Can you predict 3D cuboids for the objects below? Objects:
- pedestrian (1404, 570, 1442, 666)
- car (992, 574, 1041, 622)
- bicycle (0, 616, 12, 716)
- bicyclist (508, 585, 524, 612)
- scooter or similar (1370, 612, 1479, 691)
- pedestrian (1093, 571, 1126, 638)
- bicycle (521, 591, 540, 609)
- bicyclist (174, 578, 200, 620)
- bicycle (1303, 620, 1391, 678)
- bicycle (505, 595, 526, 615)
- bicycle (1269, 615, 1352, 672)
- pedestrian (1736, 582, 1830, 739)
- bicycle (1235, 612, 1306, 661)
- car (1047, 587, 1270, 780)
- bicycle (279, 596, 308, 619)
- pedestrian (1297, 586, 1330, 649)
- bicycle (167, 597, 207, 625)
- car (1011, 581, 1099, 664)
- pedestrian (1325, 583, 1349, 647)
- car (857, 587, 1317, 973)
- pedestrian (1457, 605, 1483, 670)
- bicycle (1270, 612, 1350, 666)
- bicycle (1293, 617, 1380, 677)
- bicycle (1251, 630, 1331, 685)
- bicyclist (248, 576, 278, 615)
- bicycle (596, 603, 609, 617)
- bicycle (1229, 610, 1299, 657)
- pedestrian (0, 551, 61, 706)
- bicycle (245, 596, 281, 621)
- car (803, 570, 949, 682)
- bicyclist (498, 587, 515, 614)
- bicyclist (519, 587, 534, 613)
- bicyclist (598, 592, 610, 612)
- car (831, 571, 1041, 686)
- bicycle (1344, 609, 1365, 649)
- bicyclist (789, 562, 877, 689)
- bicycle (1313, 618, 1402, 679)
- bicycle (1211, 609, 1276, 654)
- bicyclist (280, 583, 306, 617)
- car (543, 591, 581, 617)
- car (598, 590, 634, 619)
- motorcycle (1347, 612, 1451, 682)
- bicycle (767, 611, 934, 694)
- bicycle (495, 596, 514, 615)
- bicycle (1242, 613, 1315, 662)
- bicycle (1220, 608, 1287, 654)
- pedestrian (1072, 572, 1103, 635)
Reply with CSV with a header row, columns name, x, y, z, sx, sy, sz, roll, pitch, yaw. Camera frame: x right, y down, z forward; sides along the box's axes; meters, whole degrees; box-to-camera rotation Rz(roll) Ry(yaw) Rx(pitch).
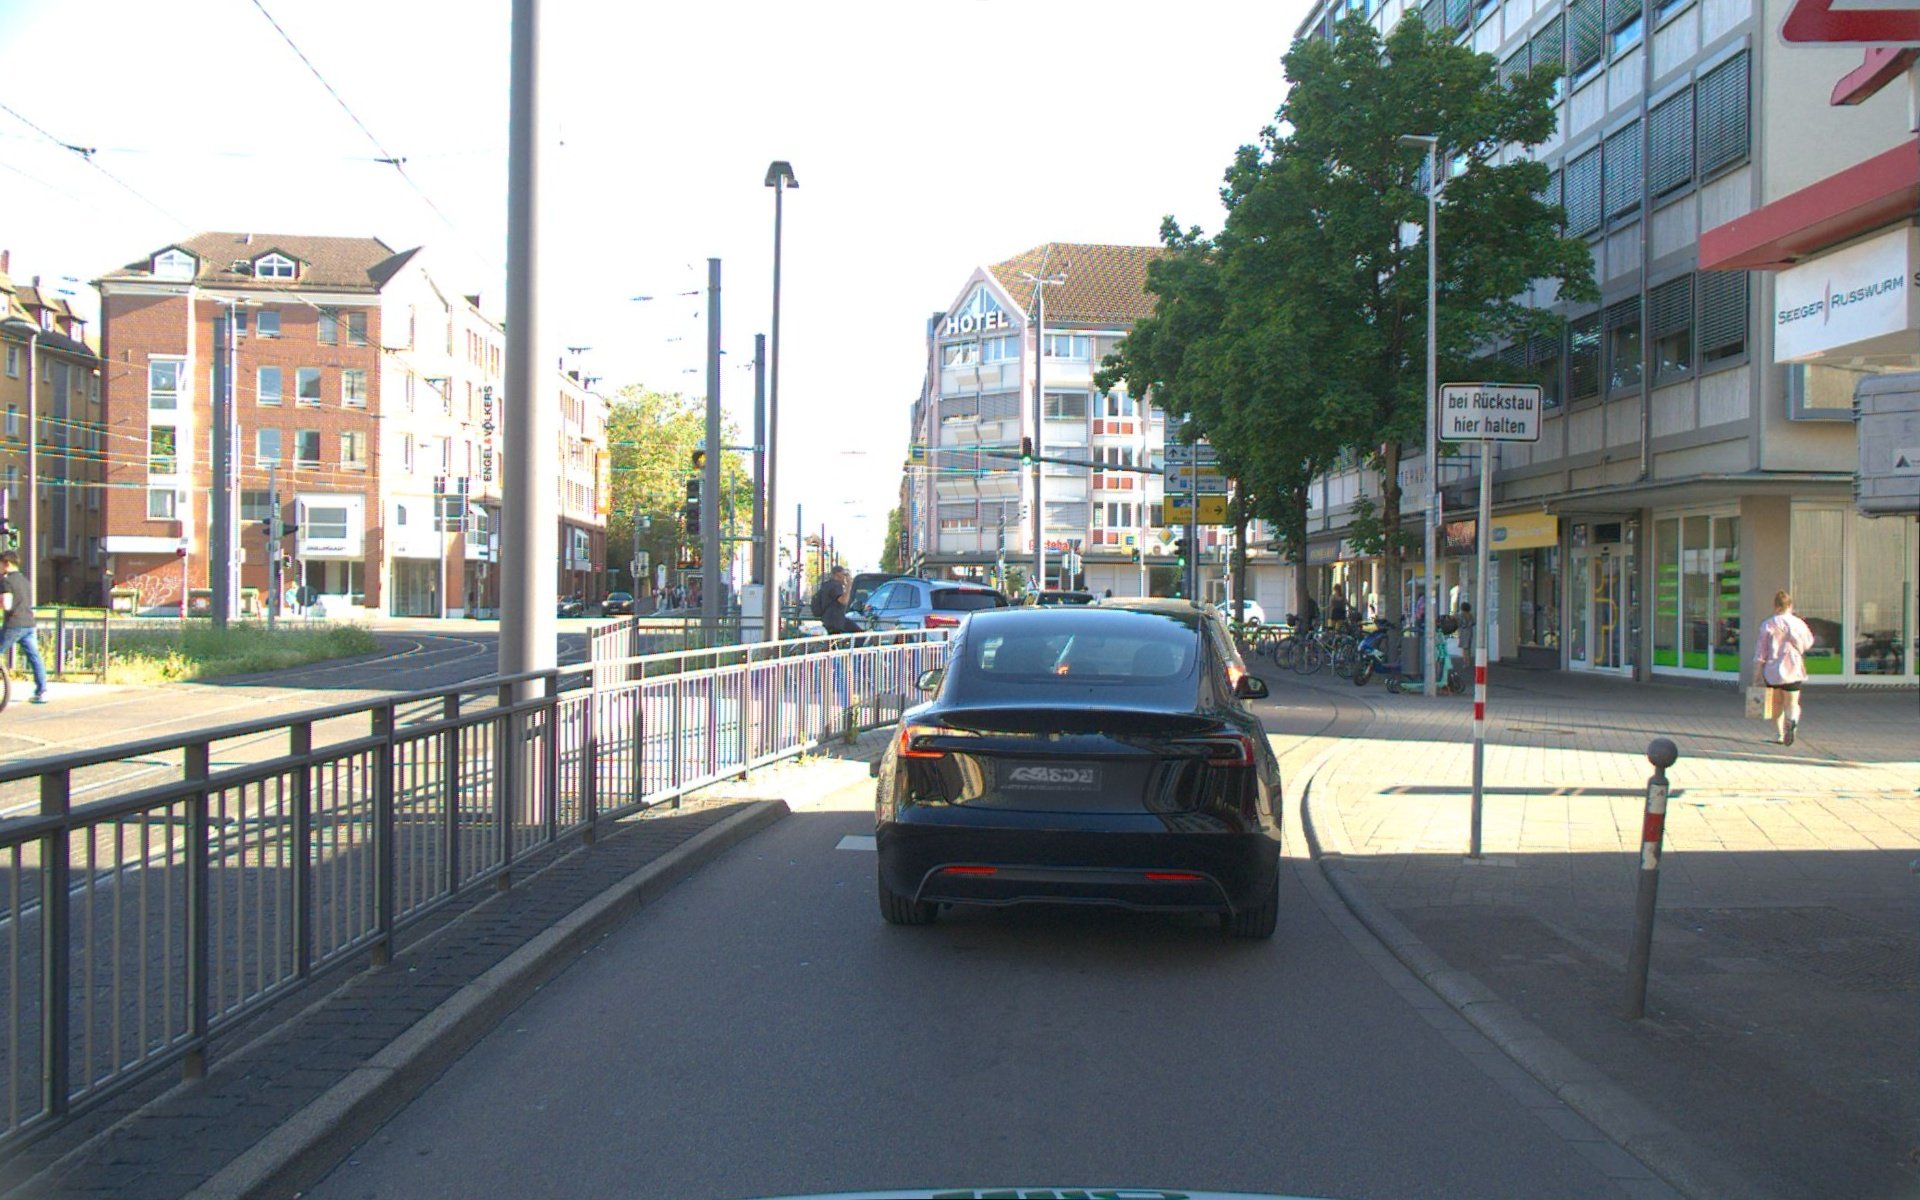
name,x,y,z,sx,sy,sz,roll,pitch,yaw
pedestrian,9.936,0.383,35.512,0.648,2.049,0.579,1,-1,1
car,2.156,-0.059,63.822,1.685,1.781,3.753,1,0,-1
bicycle,-10.448,0.654,16.764,1.563,1.011,0.404,1,-1,12
bicyclist,-26.862,-0.098,100.063,0.767,1.590,0.746,0,0,1
scooter or similar,7.661,0.838,27.285,1.610,1.236,0.644,1,-1,30
pedestrian,4.627,0.141,51.295,0.902,2.049,0.972,1,-1,-1
bicycle,-26.684,-0.011,102.851,0.518,1.108,2.284,0,0,1
bicyclist,-28.223,-0.029,60.387,0.620,1.529,0.696,1,-1,-1
bicycle,7.381,0.942,31.539,1.620,1.079,0.349,1,-1,-11
bicycle,-26.872,0.302,100.002,0.518,1.107,2.284,4,-2,1
bicycle,7.094,0.886,33.486,1.620,1.118,0.349,1,-1,-11
pedestrian,9.235,0.661,18.588,0.871,1.696,0.808,1,-1,23
bicycle,7.398,0.865,39.419,1.616,1.118,0.350,1,-1,1
car,1.748,0.639,14.986,1.714,1.480,4.003,1,0,6
bicycle,-29.676,0.335,73.661,0.396,0.998,1.695,1,0,7
pedestrian,9.591,0.466,44.914,0.685,1.691,0.777,1,-1,-1
bicycle,-28.225,0.390,60.439,0.437,0.988,2.246,1,0,-1
car,2.149,0.500,38.191,1.566,1.809,3.978,1,0,-3
pedestrian,10.296,0.407,45.167,0.515,1.740,0.403,1,-1,-4
car,0.638,0.716,8.530,1.791,1.481,4.002,1,0,4
pedestrian,10.845,0.785,35.158,0.381,1.367,0.513,1,-1,1
bicycle,7.498,0.826,35.441,1.616,1.118,0.350,1,-1,1
bicycle,7.277,0.908,31.962,1.620,1.118,0.349,1,-1,-11
bicycle,6.887,1.201,34.397,1.620,1.118,0.349,1,-1,-11
bicyclist,-28.355,-0.179,67.312,0.880,1.529,0.696,1,-1,-1
bicycle,-28.866,0.822,133.602,0.518,1.107,2.225,1,0,1
bicycle,7.426,0.819,40.433,1.616,1.118,0.350,1,-1,1
pedestrian,-10.648,0.311,18.669,0.579,1.710,0.773,1,-1,-4
bicycle,-28.356,0.327,67.339,0.513,0.988,2.246,1,0,-1
car,-1.730,0.485,32.578,1.962,2.049,3.981,0,0,-17
bicyclist,-26.787,0.034,97.691,0.767,1.590,0.746,1,-1,1
bicyclist,-26.779,0.000,102.166,0.767,1.590,0.746,0,0,1
bicyclist,-28.834,0.160,133.815,0.767,1.590,0.746,1,-1,1
car,-0.476,0.425,26.533,1.859,1.691,4.125,1,0,-25
bicycle,10.701,0.774,44.844,0.325,1.052,1.257,1,0,3
bicyclist,-1.705,0.332,22.184,0.753,1.657,0.964,1,-1,-39
bicycle,7.478,0.917,31.119,1.620,1.118,0.349,1,-1,-11
bicycle,7.291,0.800,42.571,1.616,1.118,0.350,1,-1,1
bicyclist,-29.694,-0.020,73.675,0.689,1.496,0.973,0,0,7
car,-24.637,0.267,102.404,1.677,1.553,4.031,1,0,-5
car,-21.996,0.290,105.763,1.663,1.762,3.704,1,0,-3
motorcycle,7.805,0.839,29.423,1.673,1.194,0.541,1,-1,-3
bicycle,-1.457,0.703,22.401,2.313,1.072,0.622,1,-1,-39
bicycle,-26.763,0.302,97.251,0.526,1.107,2.224,1,0,-1
bicycle,7.382,0.864,38.392,1.616,1.118,0.350,1,-1,1
bicycle,7.361,0.775,41.478,1.616,1.118,0.350,0,0,1
pedestrian,4.196,0.114,54.452,0.902,2.049,0.972,1,-1,-1
